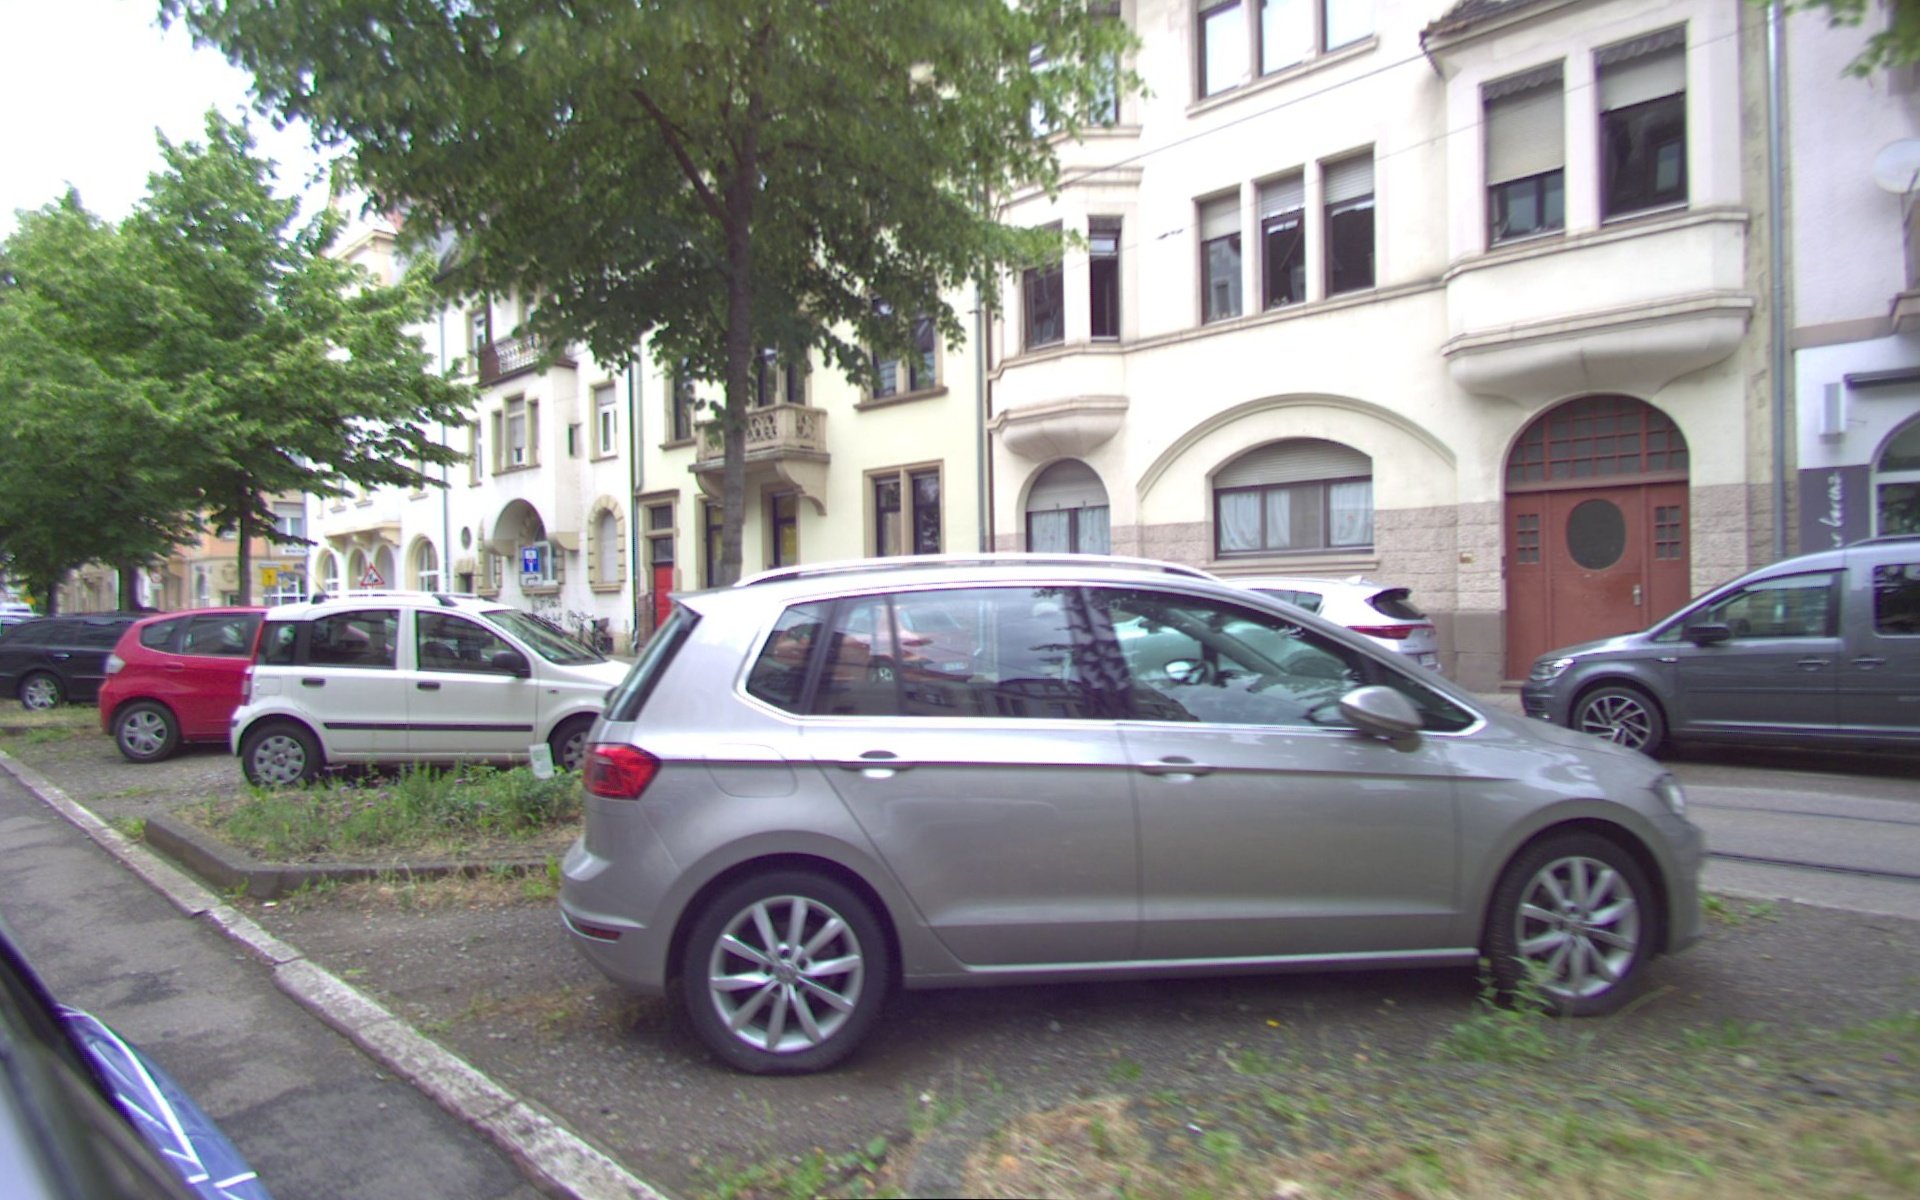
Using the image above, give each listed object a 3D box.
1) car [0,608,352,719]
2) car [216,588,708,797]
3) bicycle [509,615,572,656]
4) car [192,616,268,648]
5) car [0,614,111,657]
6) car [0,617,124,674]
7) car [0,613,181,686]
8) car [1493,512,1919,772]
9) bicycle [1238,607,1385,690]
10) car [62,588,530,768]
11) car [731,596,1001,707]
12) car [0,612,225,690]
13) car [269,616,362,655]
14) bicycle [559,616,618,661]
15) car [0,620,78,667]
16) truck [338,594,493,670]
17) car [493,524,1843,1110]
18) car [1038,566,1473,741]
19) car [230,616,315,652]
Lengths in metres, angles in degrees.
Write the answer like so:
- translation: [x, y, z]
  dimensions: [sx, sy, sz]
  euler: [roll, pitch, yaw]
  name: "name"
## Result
- translation: [-12.296, 0.939, 15.709]
  dimensions: [4.540, 1.477, 1.887]
  euler: [-2, 0, -3]
  name: "car"
- translation: [-3.979, 0.682, 8.597]
  dimensions: [3.374, 1.538, 1.693]
  euler: [0, 1, -7]
  name: "car"
- translation: [-12.226, 1.046, 29.501]
  dimensions: [1.908, 1.135, 0.607]
  euler: [-2, 2, 30]
  name: "bicycle"
- translation: [-29.103, 1.264, 40.327]
  dimensions: [3.377, 1.185, 1.619]
  euler: [-1, 0, 39]
  name: "car"
- translation: [-33.159, 1.286, 36.223]
  dimensions: [3.931, 1.426, 1.904]
  euler: [-1, -2, -28]
  name: "car"
- translation: [-25.495, 1.251, 27.441]
  dimensions: [3.935, 1.426, 1.902]
  euler: [-1, -2, -10]
  name: "car"
- translation: [-19.963, 1.104, 22.374]
  dimensions: [3.939, 1.478, 1.900]
  euler: [-2, -2, -5]
  name: "car"
- translation: [7.118, 0.309, 8.414]
  dimensions: [4.429, 1.885, 1.831]
  euler: [-1, 0, 42]
  name: "car"
- translation: [4.995, 0.668, 14.482]
  dimensions: [1.868, 1.096, 0.647]
  euler: [-1, 0, 43]
  name: "bicycle"
- translation: [-6.803, 0.739, 10.734]
  dimensions: [3.754, 1.538, 1.678]
  euler: [-3, 1, -6]
  name: "car"
- translation: [-1.574, 0.747, 16.114]
  dimensions: [4.190, 1.534, 1.833]
  euler: [-1, 0, 39]
  name: "car"
- translation: [-17.194, 0.998, 20.227]
  dimensions: [3.680, 1.399, 1.792]
  euler: [-2, -2, -5]
  name: "car"
- translation: [-21.371, 1.167, 33.543]
  dimensions: [3.377, 1.185, 1.619]
  euler: [-1, 0, 39]
  name: "car"
- translation: [-10.246, 1.051, 27.897]
  dimensions: [1.915, 1.135, 0.605]
  euler: [-1, 2, 41]
  name: "bicycle"
- translation: [-30.644, 1.414, 31.874]
  dimensions: [3.935, 1.426, 1.902]
  euler: [-1, -2, -10]
  name: "car"
- translation: [-15.235, 0.852, 28.115]
  dimensions: [6.066, 1.870, 2.121]
  euler: [-1, 0, 45]
  name: "truck"
- translation: [0.672, 0.574, 3.881]
  dimensions: [4.141, 1.621, 1.728]
  euler: [0, 1, -6]
  name: "car"
- translation: [3.292, 0.541, 11.786]
  dimensions: [4.488, 1.672, 1.833]
  euler: [-1, 0, 39]
  name: "car"
- translation: [-24.894, 1.211, 36.624]
  dimensions: [3.377, 1.185, 1.619]
  euler: [-1, 0, 39]
  name: "car"
